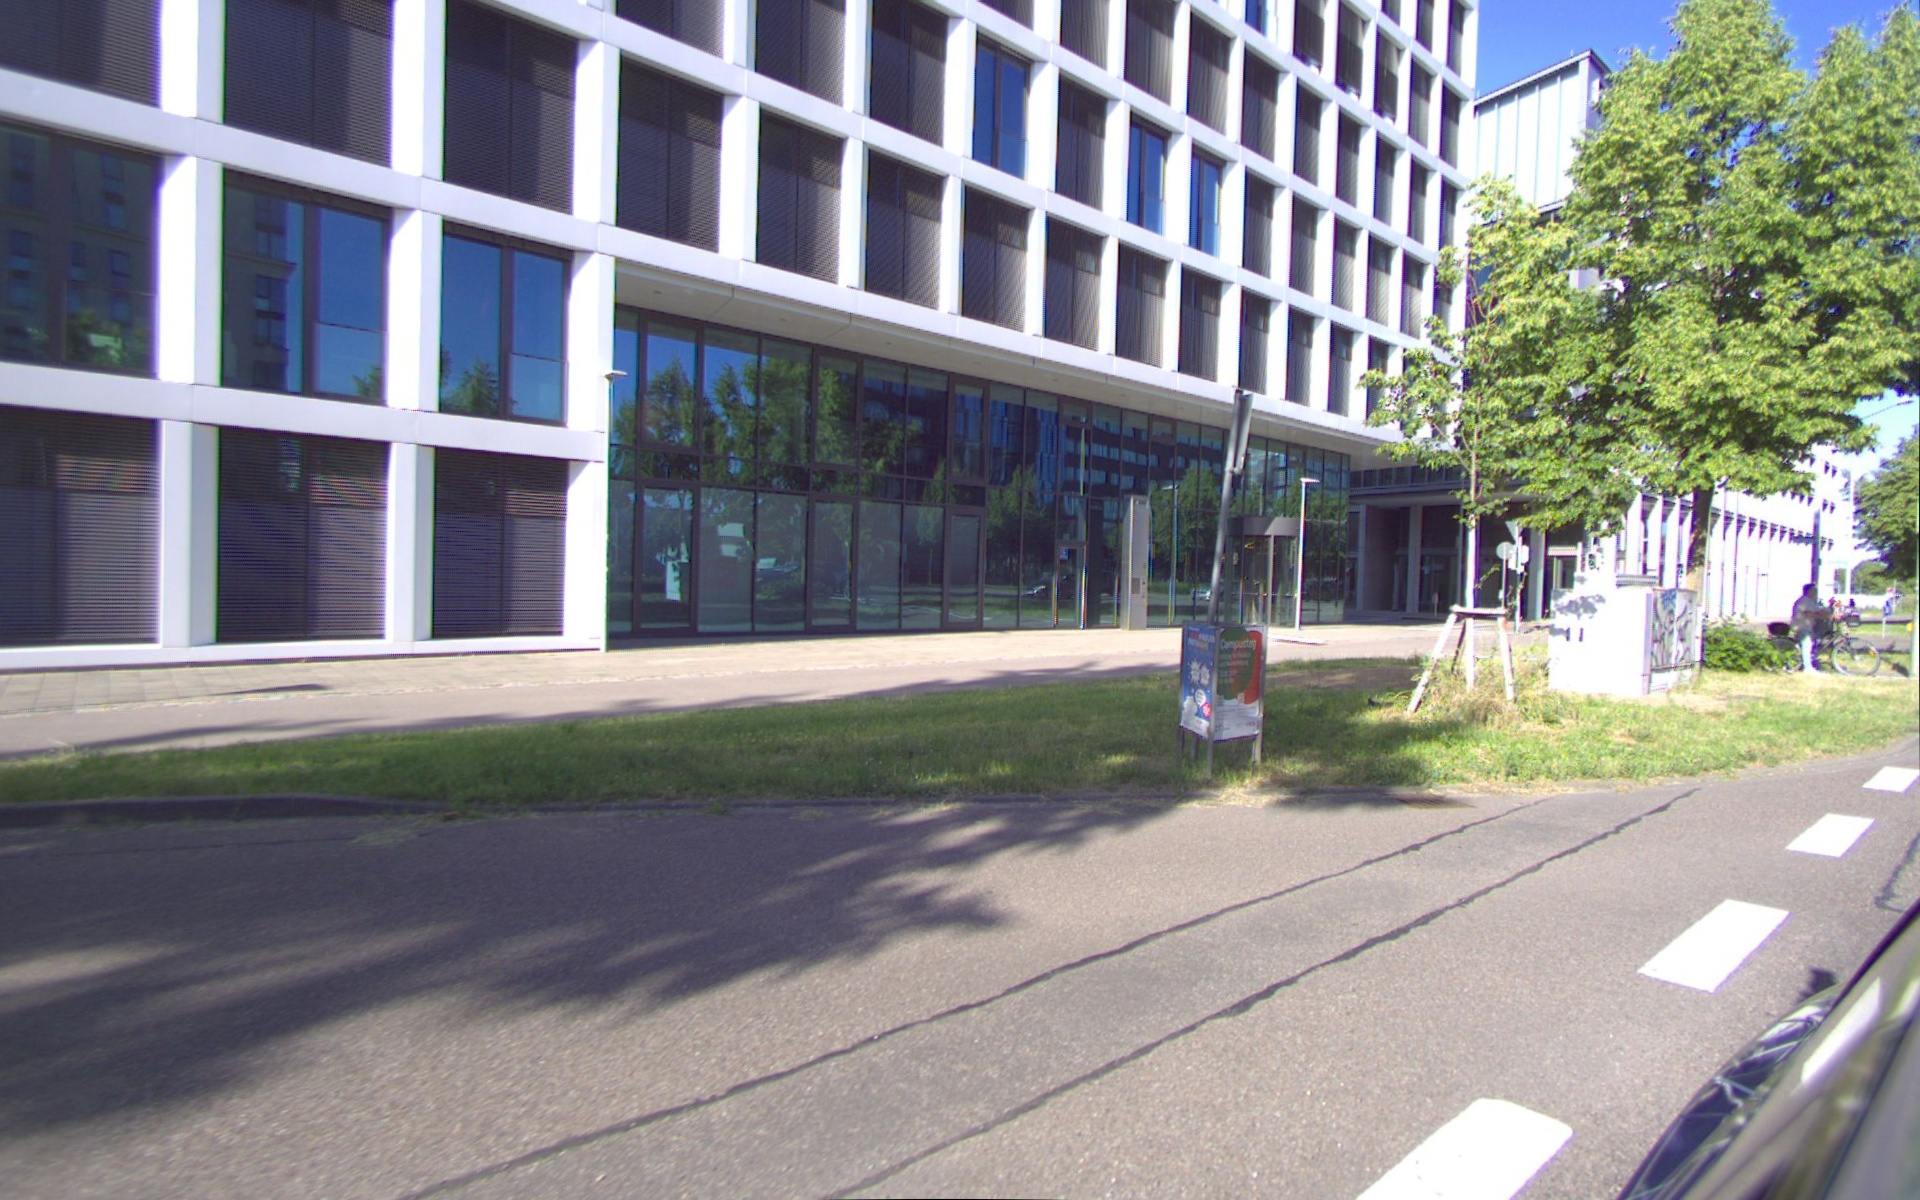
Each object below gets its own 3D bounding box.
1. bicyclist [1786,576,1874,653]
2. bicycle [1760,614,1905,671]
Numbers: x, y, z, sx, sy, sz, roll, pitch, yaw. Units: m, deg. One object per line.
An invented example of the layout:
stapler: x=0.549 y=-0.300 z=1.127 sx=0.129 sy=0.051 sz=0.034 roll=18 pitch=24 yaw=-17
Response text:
bicyclist: x=16.020 y=0.249 z=18.648 sx=0.627 sy=1.339 sz=1.087 roll=0 pitch=1 yaw=-38
bicycle: x=16.025 y=0.753 z=18.633 sx=0.635 sy=0.916 sz=1.929 roll=0 pitch=2 yaw=-38
